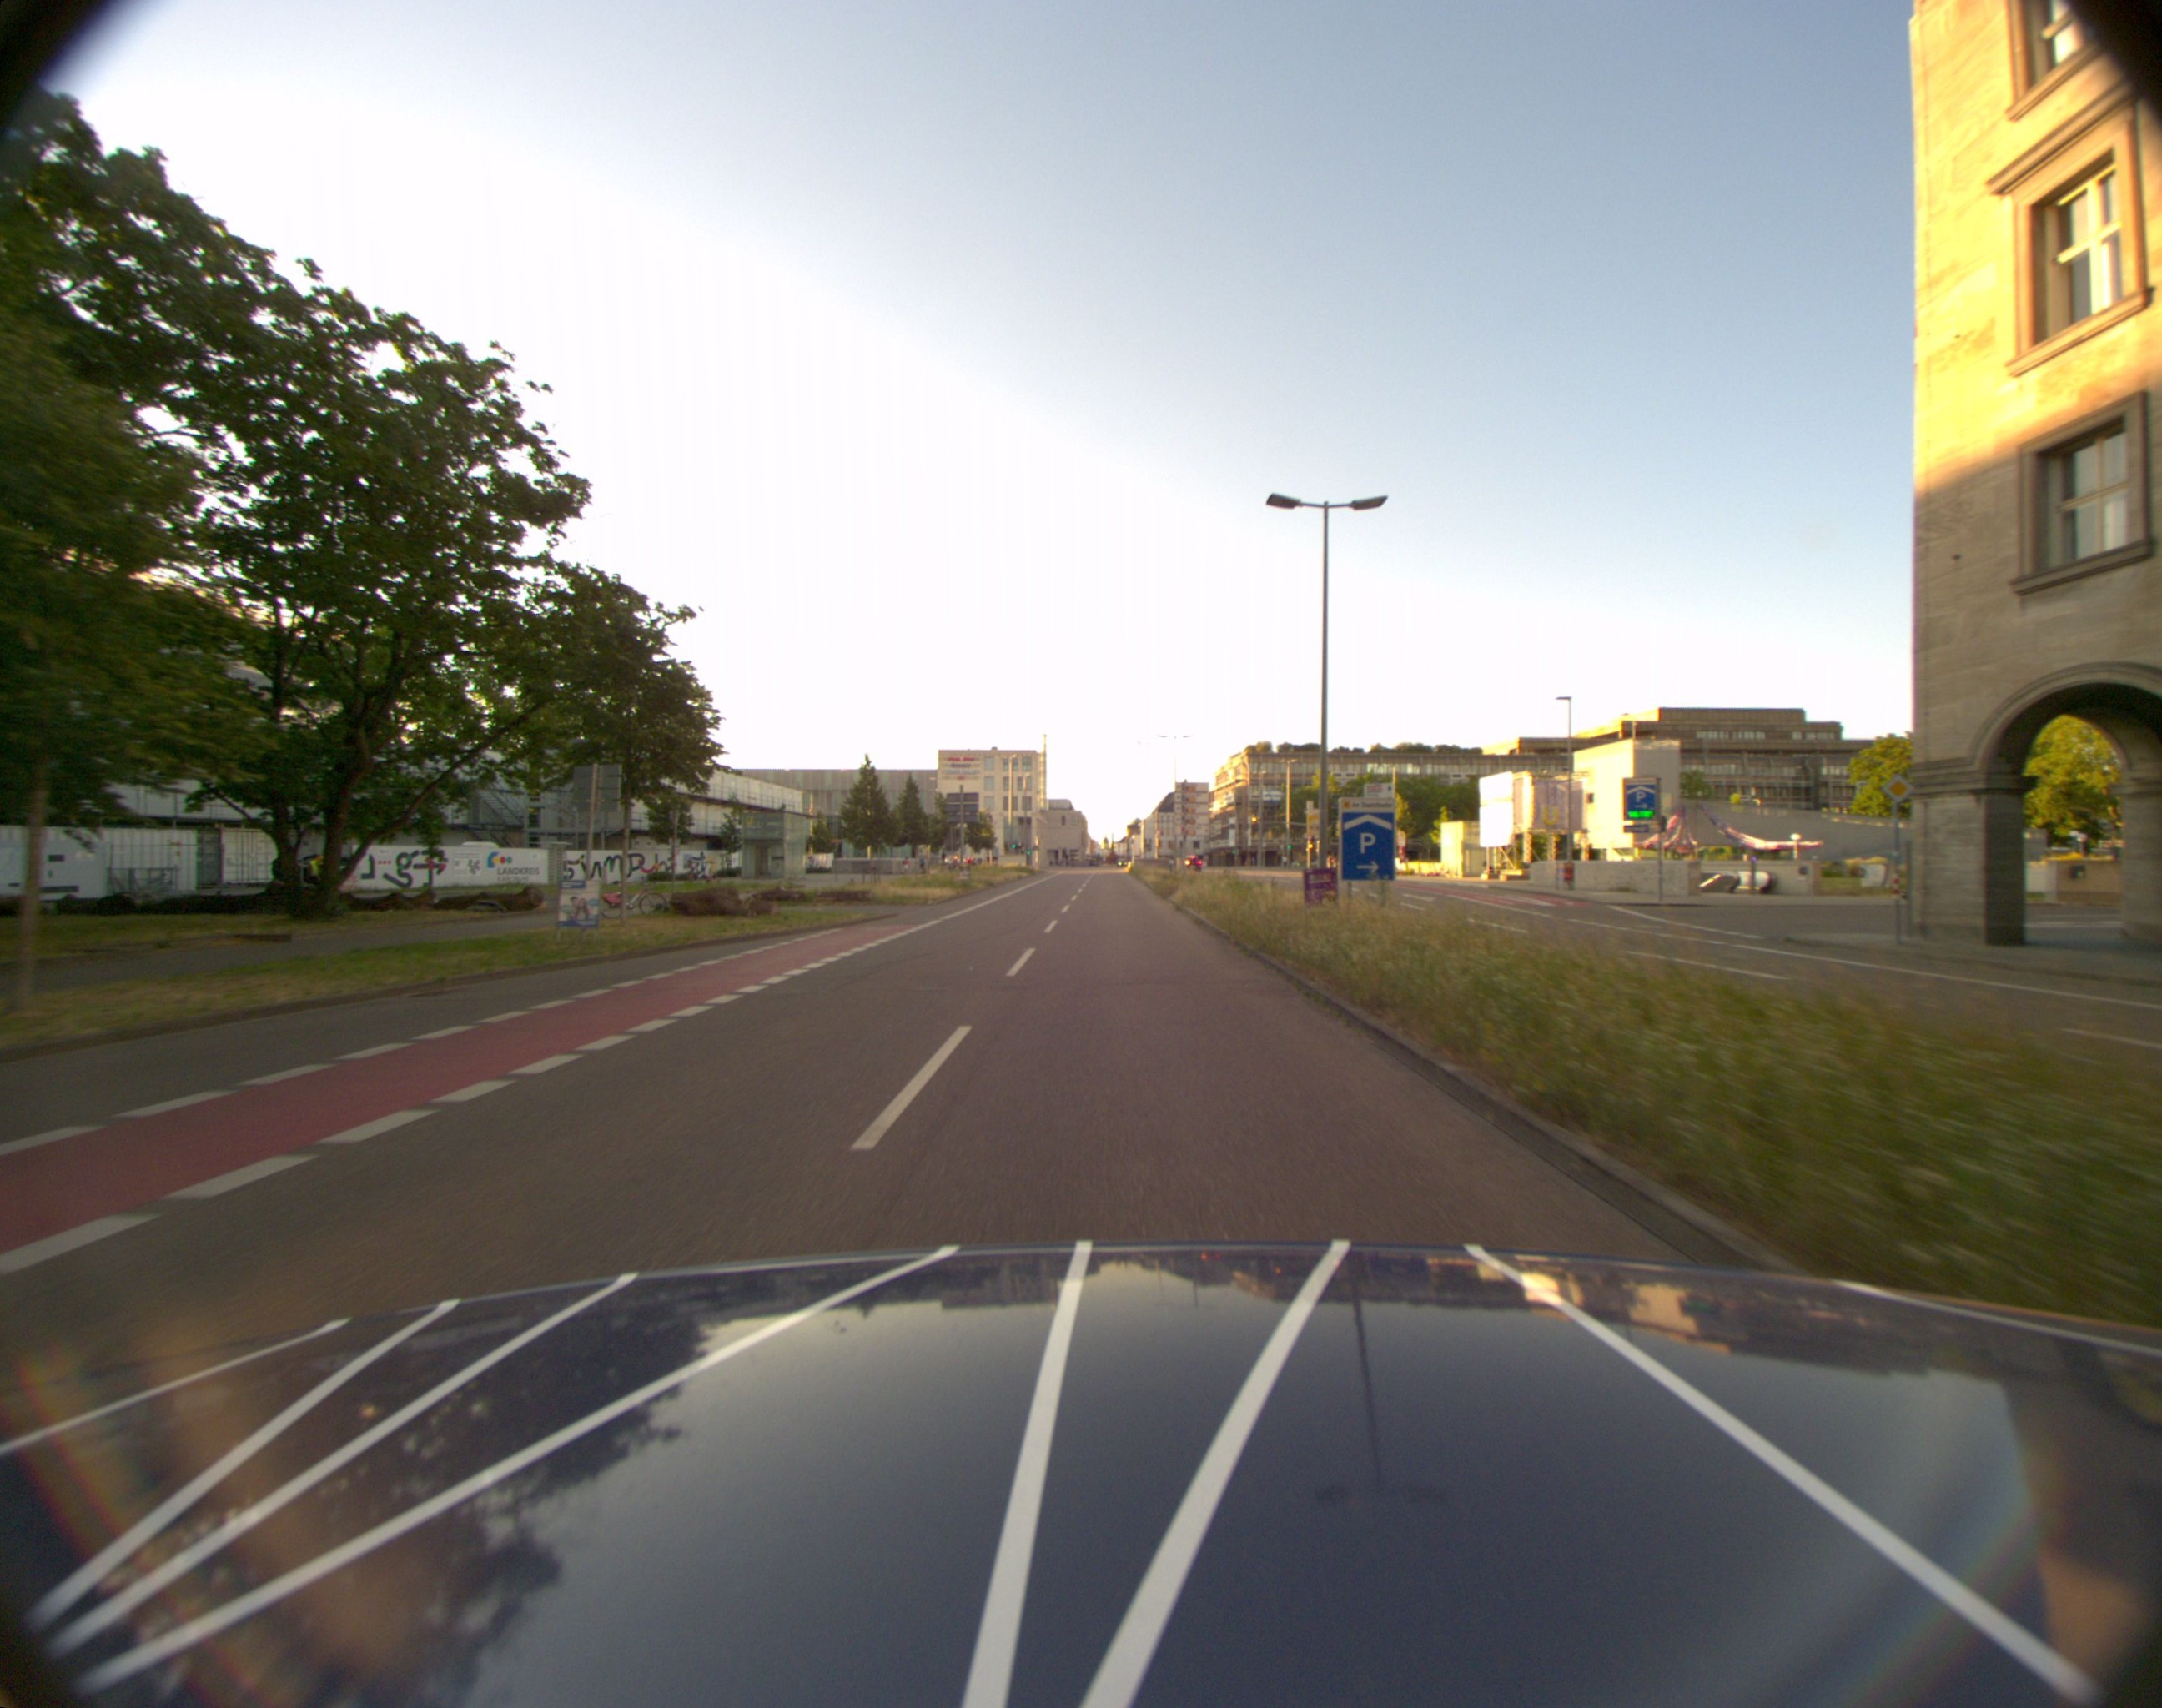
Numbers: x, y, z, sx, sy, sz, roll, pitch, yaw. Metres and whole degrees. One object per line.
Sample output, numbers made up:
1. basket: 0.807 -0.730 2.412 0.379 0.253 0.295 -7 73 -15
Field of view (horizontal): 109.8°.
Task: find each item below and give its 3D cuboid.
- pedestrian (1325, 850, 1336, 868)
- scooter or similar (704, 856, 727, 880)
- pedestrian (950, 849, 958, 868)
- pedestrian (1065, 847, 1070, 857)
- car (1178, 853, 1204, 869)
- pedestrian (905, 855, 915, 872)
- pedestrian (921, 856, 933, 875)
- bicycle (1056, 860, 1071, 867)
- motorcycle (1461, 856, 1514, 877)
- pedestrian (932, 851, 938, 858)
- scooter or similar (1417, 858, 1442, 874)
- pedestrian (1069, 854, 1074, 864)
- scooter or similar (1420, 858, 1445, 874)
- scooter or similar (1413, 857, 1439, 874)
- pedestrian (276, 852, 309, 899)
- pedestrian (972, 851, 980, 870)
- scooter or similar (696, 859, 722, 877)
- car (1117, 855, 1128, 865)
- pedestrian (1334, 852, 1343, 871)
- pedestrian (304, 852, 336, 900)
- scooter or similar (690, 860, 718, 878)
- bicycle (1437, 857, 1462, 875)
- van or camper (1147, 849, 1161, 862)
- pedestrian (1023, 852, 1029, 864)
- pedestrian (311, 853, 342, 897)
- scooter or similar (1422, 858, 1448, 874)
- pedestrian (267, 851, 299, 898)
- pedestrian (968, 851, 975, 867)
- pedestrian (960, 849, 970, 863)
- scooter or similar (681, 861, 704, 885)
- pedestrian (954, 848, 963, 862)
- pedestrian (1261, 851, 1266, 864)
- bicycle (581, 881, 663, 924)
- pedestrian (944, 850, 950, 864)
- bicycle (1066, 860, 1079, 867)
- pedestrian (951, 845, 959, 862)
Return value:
1. pedestrian: 25.252 0.462 76.802 0.874 1.826 0.776 0 1 3
2. scooter or similar: -19.082 0.745 39.712 0.424 1.213 1.399 3 0 2
3. pedestrian: -12.358 0.439 73.962 0.644 1.922 0.619 0 1 4
4. pedestrian: -2.413 -0.359 134.548 0.764 1.696 0.834 0 0 0
5. car: 10.384 0.630 72.071 1.891 1.457 4.537 0 0 1
6. pedestrian: -15.029 0.877 66.634 0.762 1.481 0.644 0 -1 -3
7. pedestrian: -14.162 1.053 69.986 0.816 1.804 1.047 0 0 7
8. bicycle: -3.308 1.778 144.503 2.804 1.208 0.765 0 0 11
9. motorcycle: 28.382 0.872 53.036 3.241 1.375 0.840 -1 1 0
10. pedestrian: -19.216 0.111 100.181 0.650 0.957 0.654 0 1 -4
11. scooter or similar: 27.525 0.939 60.056 1.792 1.297 0.417 0 1 -5
12. pedestrian: -1.706 0.901 135.454 0.764 1.695 0.834 0 -2 0
13. scooter or similar: 27.544 0.935 59.572 1.836 1.297 0.423 0 1 -5
14. scooter or similar: 27.466 0.931 60.563 1.863 1.297 0.500 0 1 -4
15. pedestrian: -31.589 0.838 30.438 0.768 1.845 0.601 0 1 16
16. pedestrian: -10.342 0.639 74.829 0.644 1.922 0.619 0 1 2
17. scooter or similar: -25.778 0.993 52.677 1.573 1.213 0.474 -2 1 -1
18. car: 7.794 1.103 143.563 2.071 1.642 3.999 0 2 3
19. pedestrian: 26.067 0.775 76.939 0.661 1.922 0.648 0 0 3
20. pedestrian: -30.257 0.860 30.206 0.768 1.908 0.601 0 1 16
21. scooter or similar: -25.730 1.009 51.860 1.573 1.213 0.474 -2 1 -1
22. bicycle: 27.689 0.901 57.125 0.619 1.316 2.509 0 0 0
23. van or camper: 15.556 0.266 162.516 2.232 2.650 6.162 0 -1 -2
24. pedestrian: -7.531 0.557 104.212 0.644 1.650 0.871 0 1 4
25. pedestrian: -31.309 0.865 31.552 0.768 1.810 0.601 0 1 16
26. scooter or similar: 27.570 0.930 59.130 1.840 1.297 0.423 0 1 -5
27. pedestrian: -32.470 0.827 30.905 0.768 1.890 0.601 0 1 16
28. pedestrian: -11.420 0.548 79.294 0.644 1.703 0.871 0 1 2
29. pedestrian: -15.599 0.225 101.960 0.892 1.843 1.007 3 2 14
30. scooter or similar: -20.265 0.971 39.665 0.474 1.213 1.574 2 0 -5
31. pedestrian: -16.472 0.090 102.140 0.896 1.843 0.724 1 2 -32
32. pedestrian: 27.137 0.466 113.093 0.644 1.920 0.681 0 1 -1
33. bicycle: -12.024 1.248 19.956 0.494 1.000 1.901 3 1 21
34. pedestrian: -17.780 0.412 100.547 0.604 1.843 0.587 0 1 6
35. bicycle: -1.769 1.916 154.252 2.507 1.316 0.619 0 1 1
36. pedestrian: -12.609 -0.030 76.230 0.644 1.702 0.763 0 0 3
